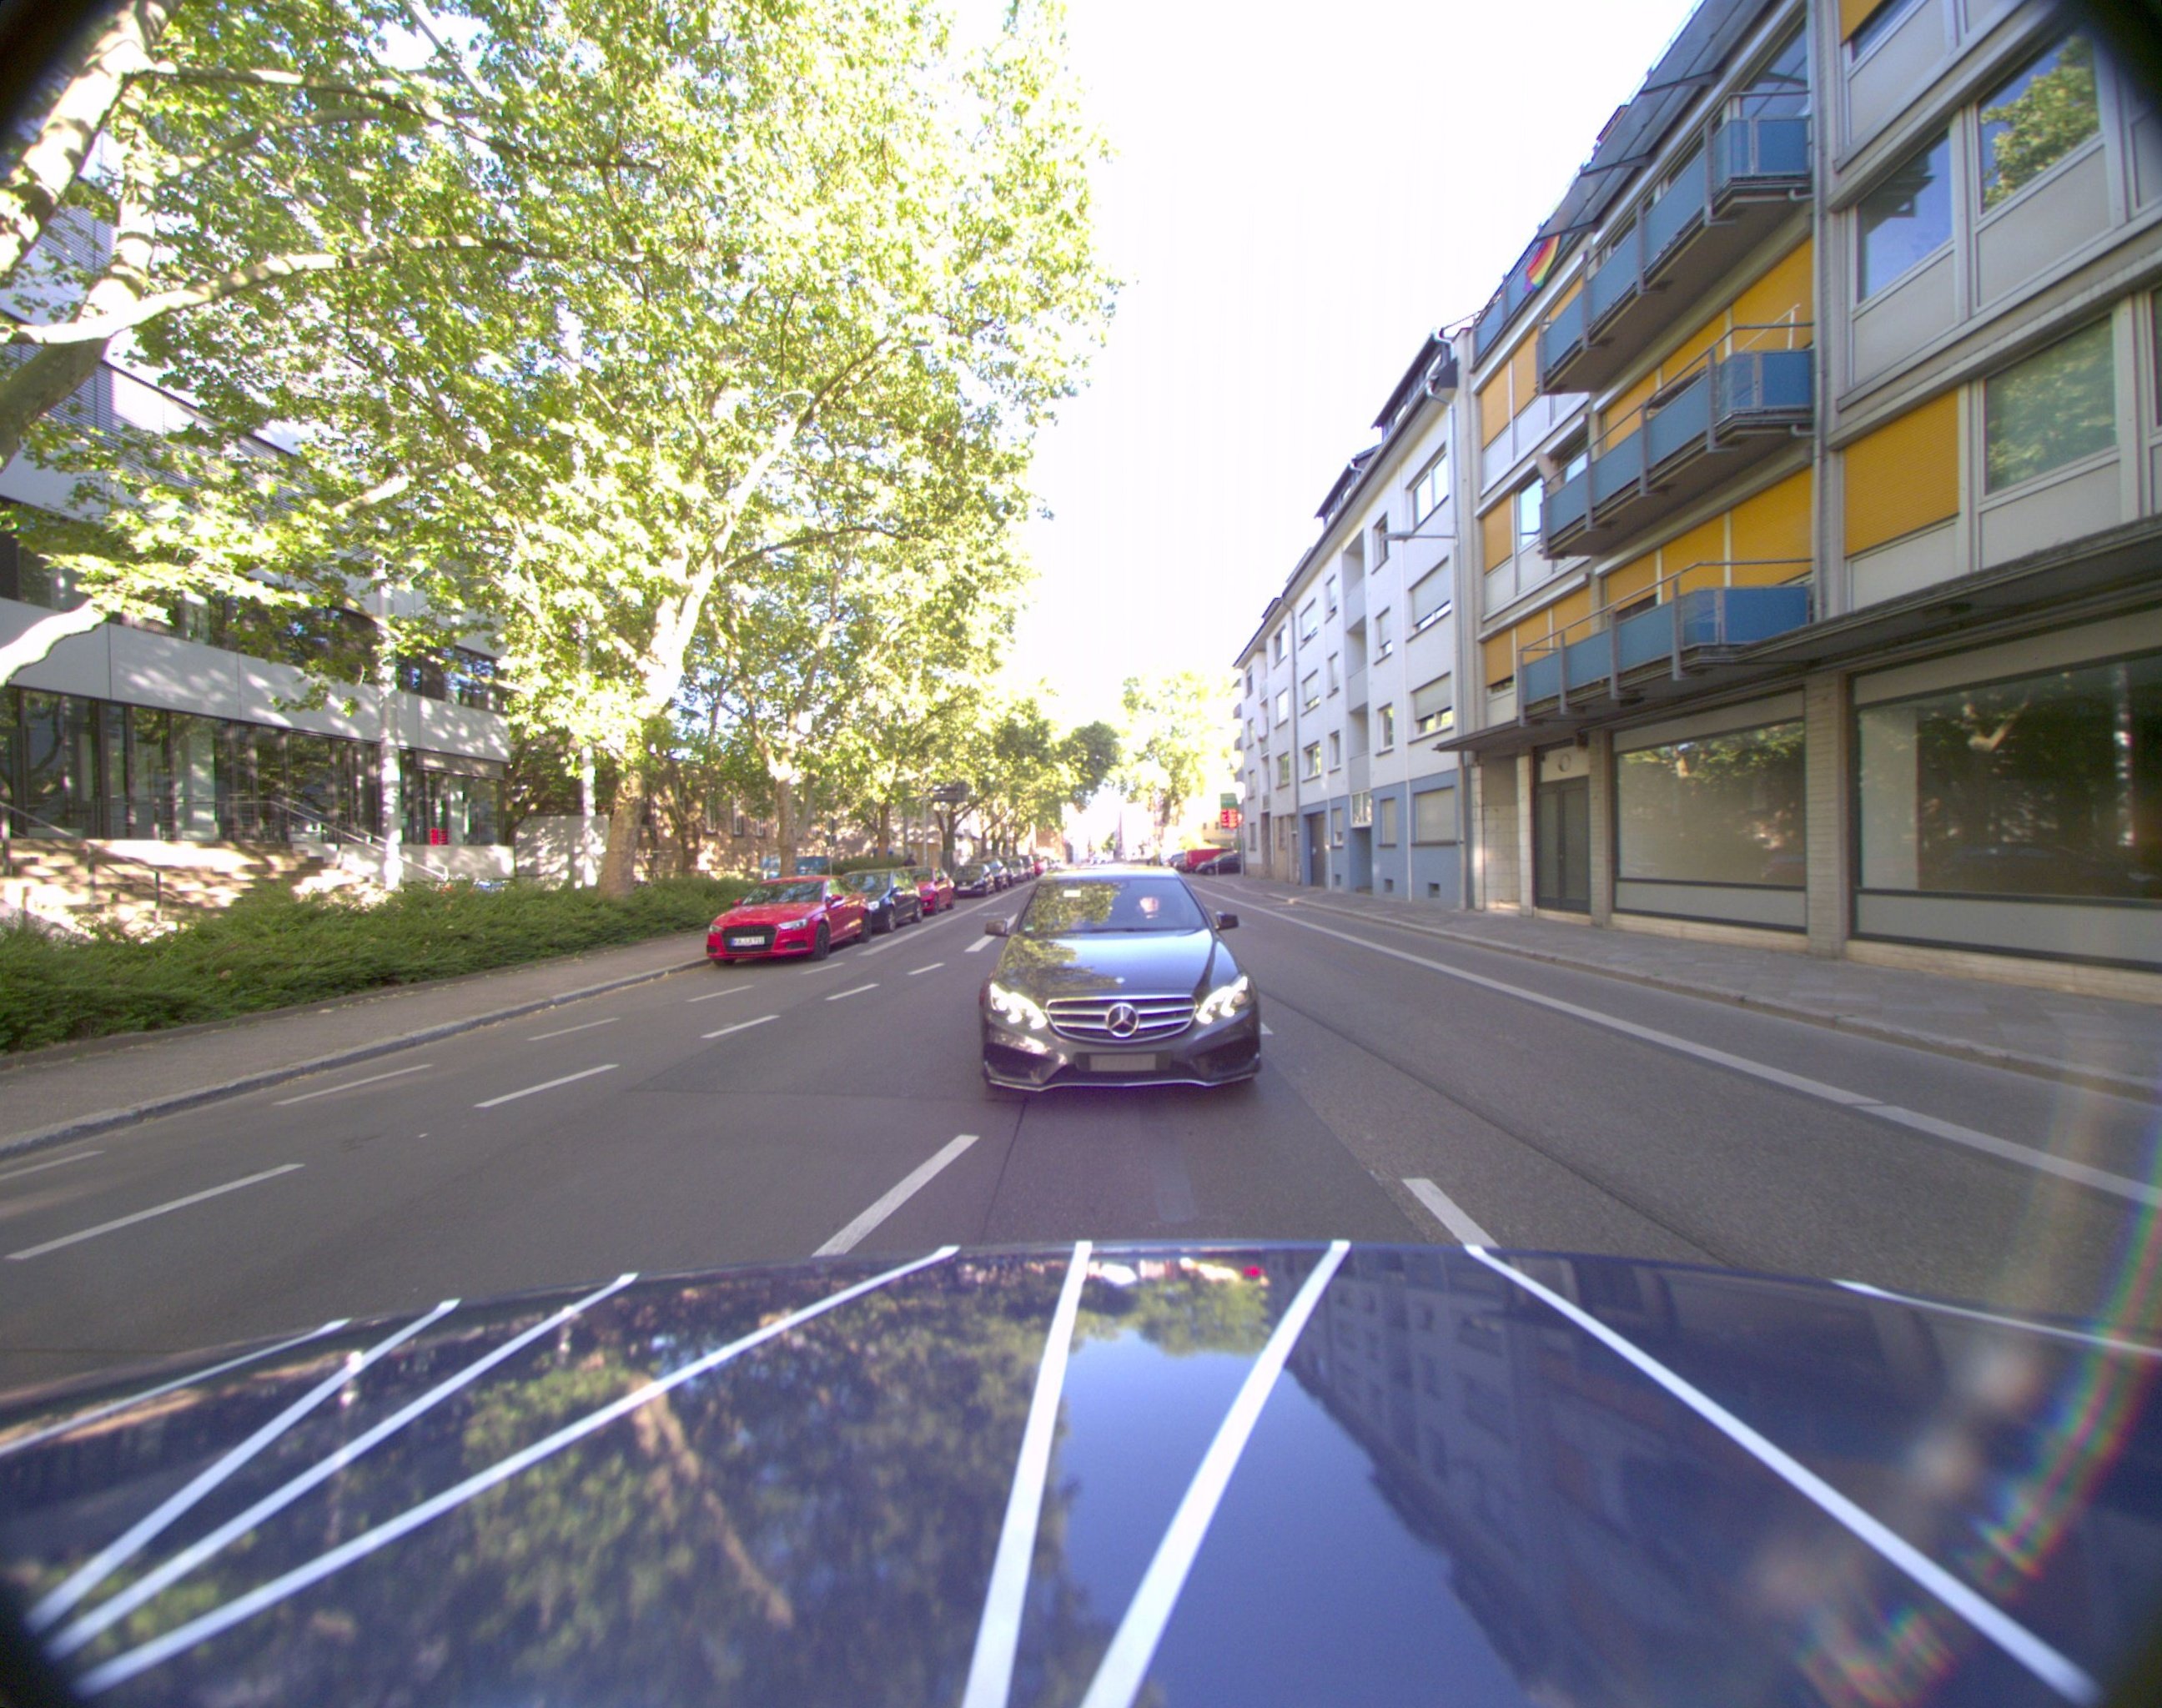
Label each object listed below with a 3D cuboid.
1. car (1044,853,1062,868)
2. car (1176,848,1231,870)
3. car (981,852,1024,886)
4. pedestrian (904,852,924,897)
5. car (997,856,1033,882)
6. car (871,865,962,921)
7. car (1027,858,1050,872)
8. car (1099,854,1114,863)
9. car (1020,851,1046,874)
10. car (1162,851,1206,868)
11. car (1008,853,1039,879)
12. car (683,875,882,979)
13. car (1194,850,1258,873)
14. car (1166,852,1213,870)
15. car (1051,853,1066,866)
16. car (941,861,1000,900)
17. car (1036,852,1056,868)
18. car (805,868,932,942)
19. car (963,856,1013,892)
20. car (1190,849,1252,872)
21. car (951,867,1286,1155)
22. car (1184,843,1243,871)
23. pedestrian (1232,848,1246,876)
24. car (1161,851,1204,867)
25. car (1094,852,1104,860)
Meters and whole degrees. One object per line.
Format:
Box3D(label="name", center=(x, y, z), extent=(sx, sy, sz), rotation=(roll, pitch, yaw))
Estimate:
Box3D(label="car", center=(-3.399, 0.793, 92.831), extent=(1.835, 1.667, 4.259), rotation=(-2, 0, 1))
Box3D(label="car", center=(10.061, 0.417, 62.699), extent=(4.255, 1.461, 1.653), rotation=(-4, 0, 1))
Box3D(label="car", center=(-4.502, 0.828, 44.103), extent=(1.835, 1.787, 4.463), rotation=(-2, 0, 1))
Box3D(label="pedestrian", center=(-7.040, 0.851, 32.092), extent=(0.660, 1.849, 0.641), rotation=(-1, 1, 1))
Box3D(label="car", center=(-4.330, 0.953, 50.597), extent=(1.835, 1.604, 4.259), rotation=(-2, 0, 1))
Box3D(label="car", center=(-5.036, 1.140, 23.829), extent=(1.835, 1.459, 4.168), rotation=(-2, 0, 1))
Box3D(label="car", center=(-3.980, 1.032, 71.777), extent=(1.835, 1.220, 4.259), rotation=(-2, 0, 1))
Box3D(label="car", center=(5.338, 0.937, 158.840), extent=(1.996, 1.825, 4.142), rotation=(-1, 0, 17))
Box3D(label="car", center=(-4.136, 0.688, 66.336), extent=(1.835, 1.839, 4.259), rotation=(-2, 0, 1))
Box3D(label="car", center=(10.614, 0.550, 78.638), extent=(4.255, 1.461, 1.653), rotation=(-4, 0, 1))
Box3D(label="car", center=(-4.171, 0.818, 55.628), extent=(1.835, 1.750, 4.259), rotation=(-2, 0, 1))
Box3D(label="car", center=(-5.125, 1.183, 13.759), extent=(1.835, 1.396, 4.247), rotation=(-2, 0, 1))
Box3D(label="car", center=(10.409, 0.527, 54.735), extent=(4.255, 1.392, 1.653), rotation=(-4, 0, 1))
Box3D(label="car", center=(10.443, 0.683, 73.180), extent=(4.255, 1.461, 1.653), rotation=(-4, 0, 1))
Box3D(label="car", center=(-3.034, 0.692, 102.938), extent=(1.835, 1.667, 4.259), rotation=(-2, 0, 1))
Box3D(label="car", center=(-4.739, 1.110, 33.166), extent=(1.835, 1.459, 4.168), rotation=(-2, 0, 1))
Box3D(label="car", center=(-3.927, 0.674, 86.216), extent=(1.835, 1.667, 4.259), rotation=(-2, 0, 1))
Box3D(label="car", center=(-5.035, 1.156, 18.620), extent=(1.835, 1.438, 4.168), rotation=(-2, 0, 1))
Box3D(label="car", center=(-4.589, 0.970, 38.064), extent=(1.835, 1.596, 4.161), rotation=(-2, 0, 1))
Box3D(label="car", center=(10.493, 0.464, 57.037), extent=(4.255, 1.461, 1.653), rotation=(-4, 0, 1))
Box3D(label="car", center=(0.241, 0.922, 6.417), extent=(1.849, 1.490, 4.302), rotation=(-1, 0, 1))
Box3D(label="car", center=(10.424, 0.231, 60.117), extent=(4.255, 1.907, 1.818), rotation=(-4, 0, 0))
Box3D(label="pedestrian", center=(9.556, 0.477, 45.920), extent=(0.611, 1.685, 0.657), rotation=(-1, 1, 36))
Box3D(label="car", center=(10.785, 0.524, 80.603), extent=(4.255, 1.461, 1.653), rotation=(-4, 0, 1))
Box3D(label="car", center=(3.420, 0.419, 144.998), extent=(1.726, 1.530, 4.000), rotation=(-1, 0, 1))
